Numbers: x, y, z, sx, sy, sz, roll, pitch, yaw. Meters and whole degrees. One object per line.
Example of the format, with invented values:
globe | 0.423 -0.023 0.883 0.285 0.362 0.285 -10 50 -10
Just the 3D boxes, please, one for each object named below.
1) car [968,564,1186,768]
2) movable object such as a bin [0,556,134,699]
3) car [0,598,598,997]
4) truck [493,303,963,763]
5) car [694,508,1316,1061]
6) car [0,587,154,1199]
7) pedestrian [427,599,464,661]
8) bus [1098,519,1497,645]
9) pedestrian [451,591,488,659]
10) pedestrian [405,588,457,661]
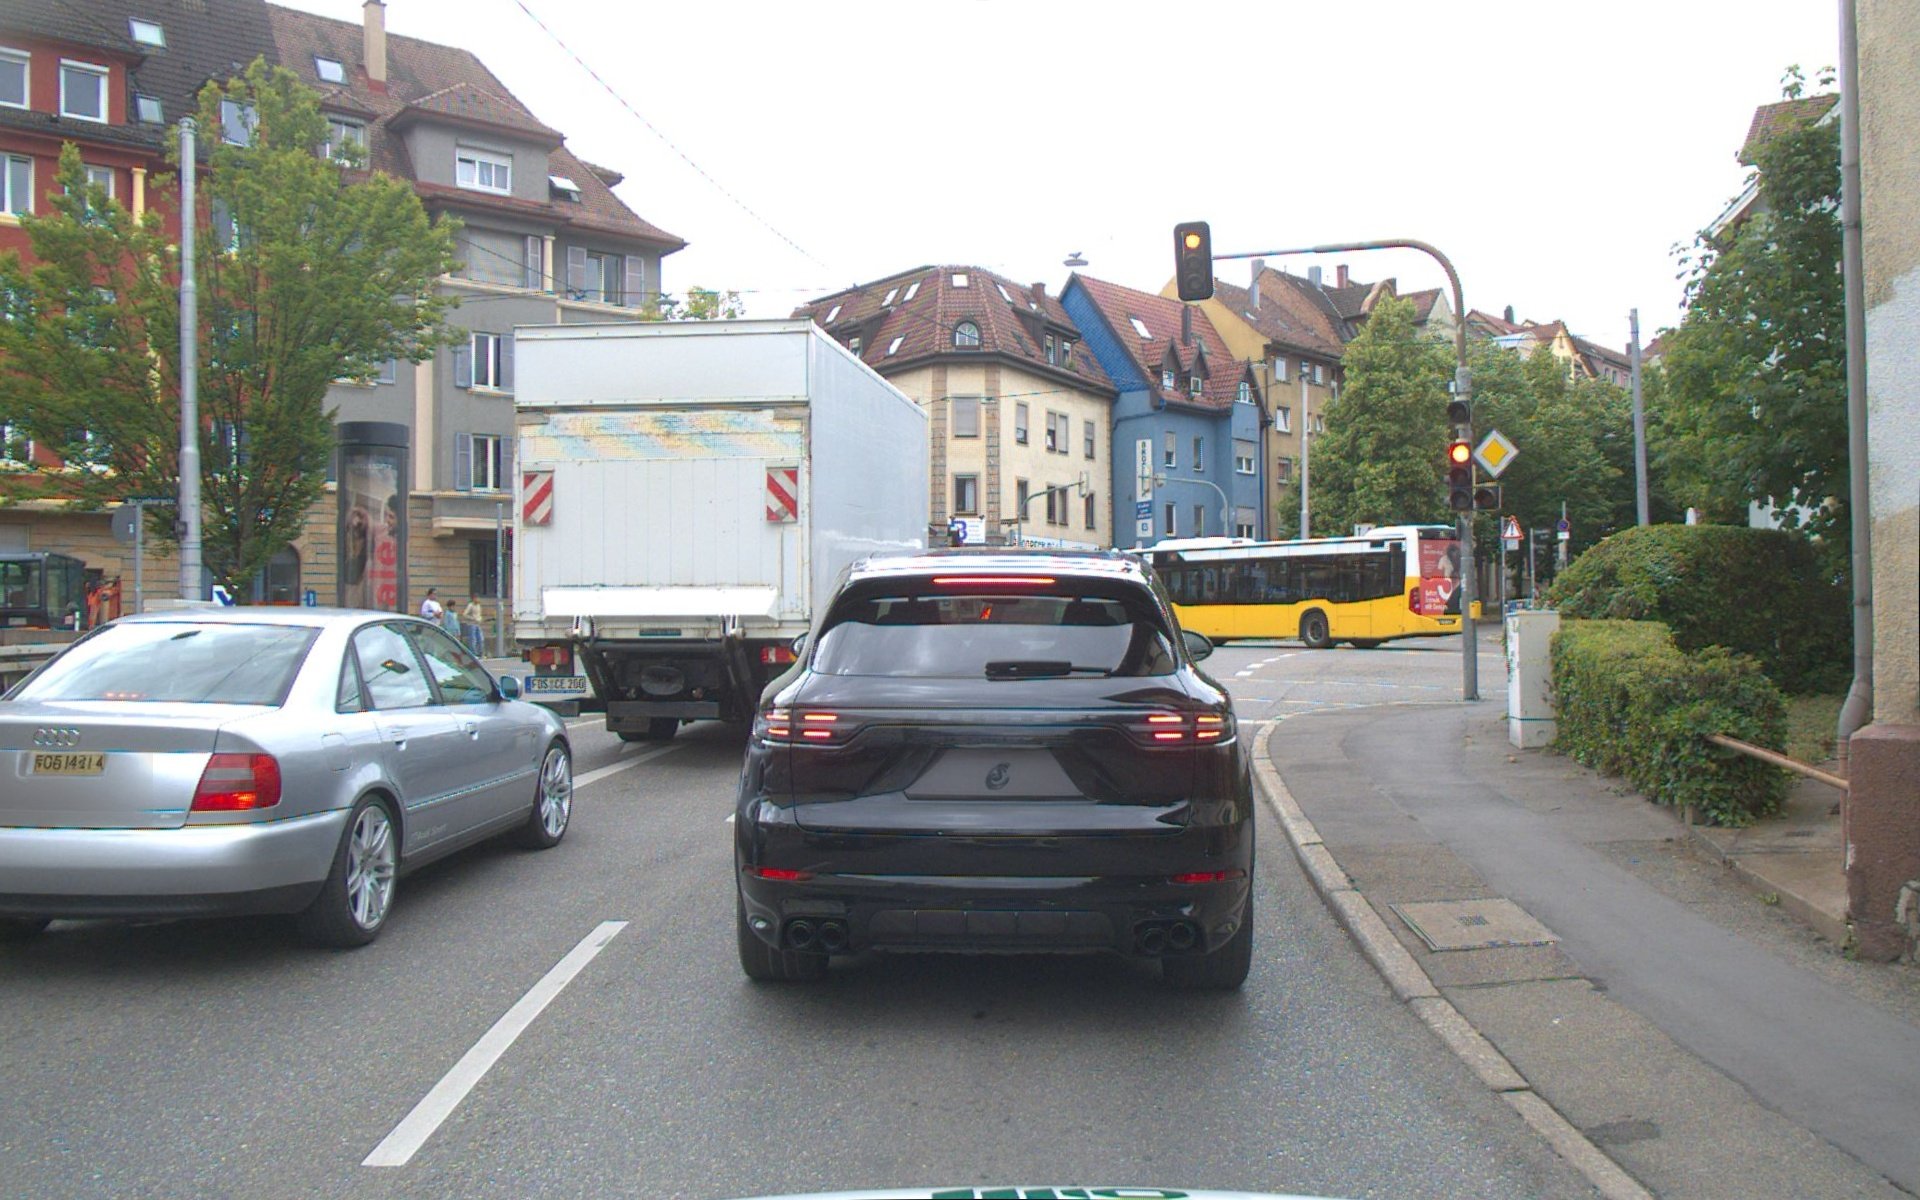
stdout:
car | 1.162 0.525 14.865 1.613 1.583 3.586 1 0 9
movable object such as a bin | -13.948 0.389 25.466 1.351 2.049 3.525 -1 0 -12
car | -3.102 0.704 7.944 1.594 1.389 4.130 -1 0 3
truck | -1.862 -0.534 17.320 2.667 3.606 8.428 -1 0 8
car | 0.220 0.581 7.612 1.989 1.753 4.501 1 0 2
car | -2.708 0.726 1.165 1.953 1.454 4.841 -1 0 -1
pedestrian | -11.469 0.663 36.864 0.566 1.361 0.581 -1 0 42
bus | 9.108 -0.359 46.856 3.134 3.150 11.987 -1 -1 -37
pedestrian | -11.069 0.551 37.340 0.648 1.513 0.515 -1 0 -43
pedestrian | -11.560 0.521 36.143 0.776 1.573 0.738 -1 0 26
